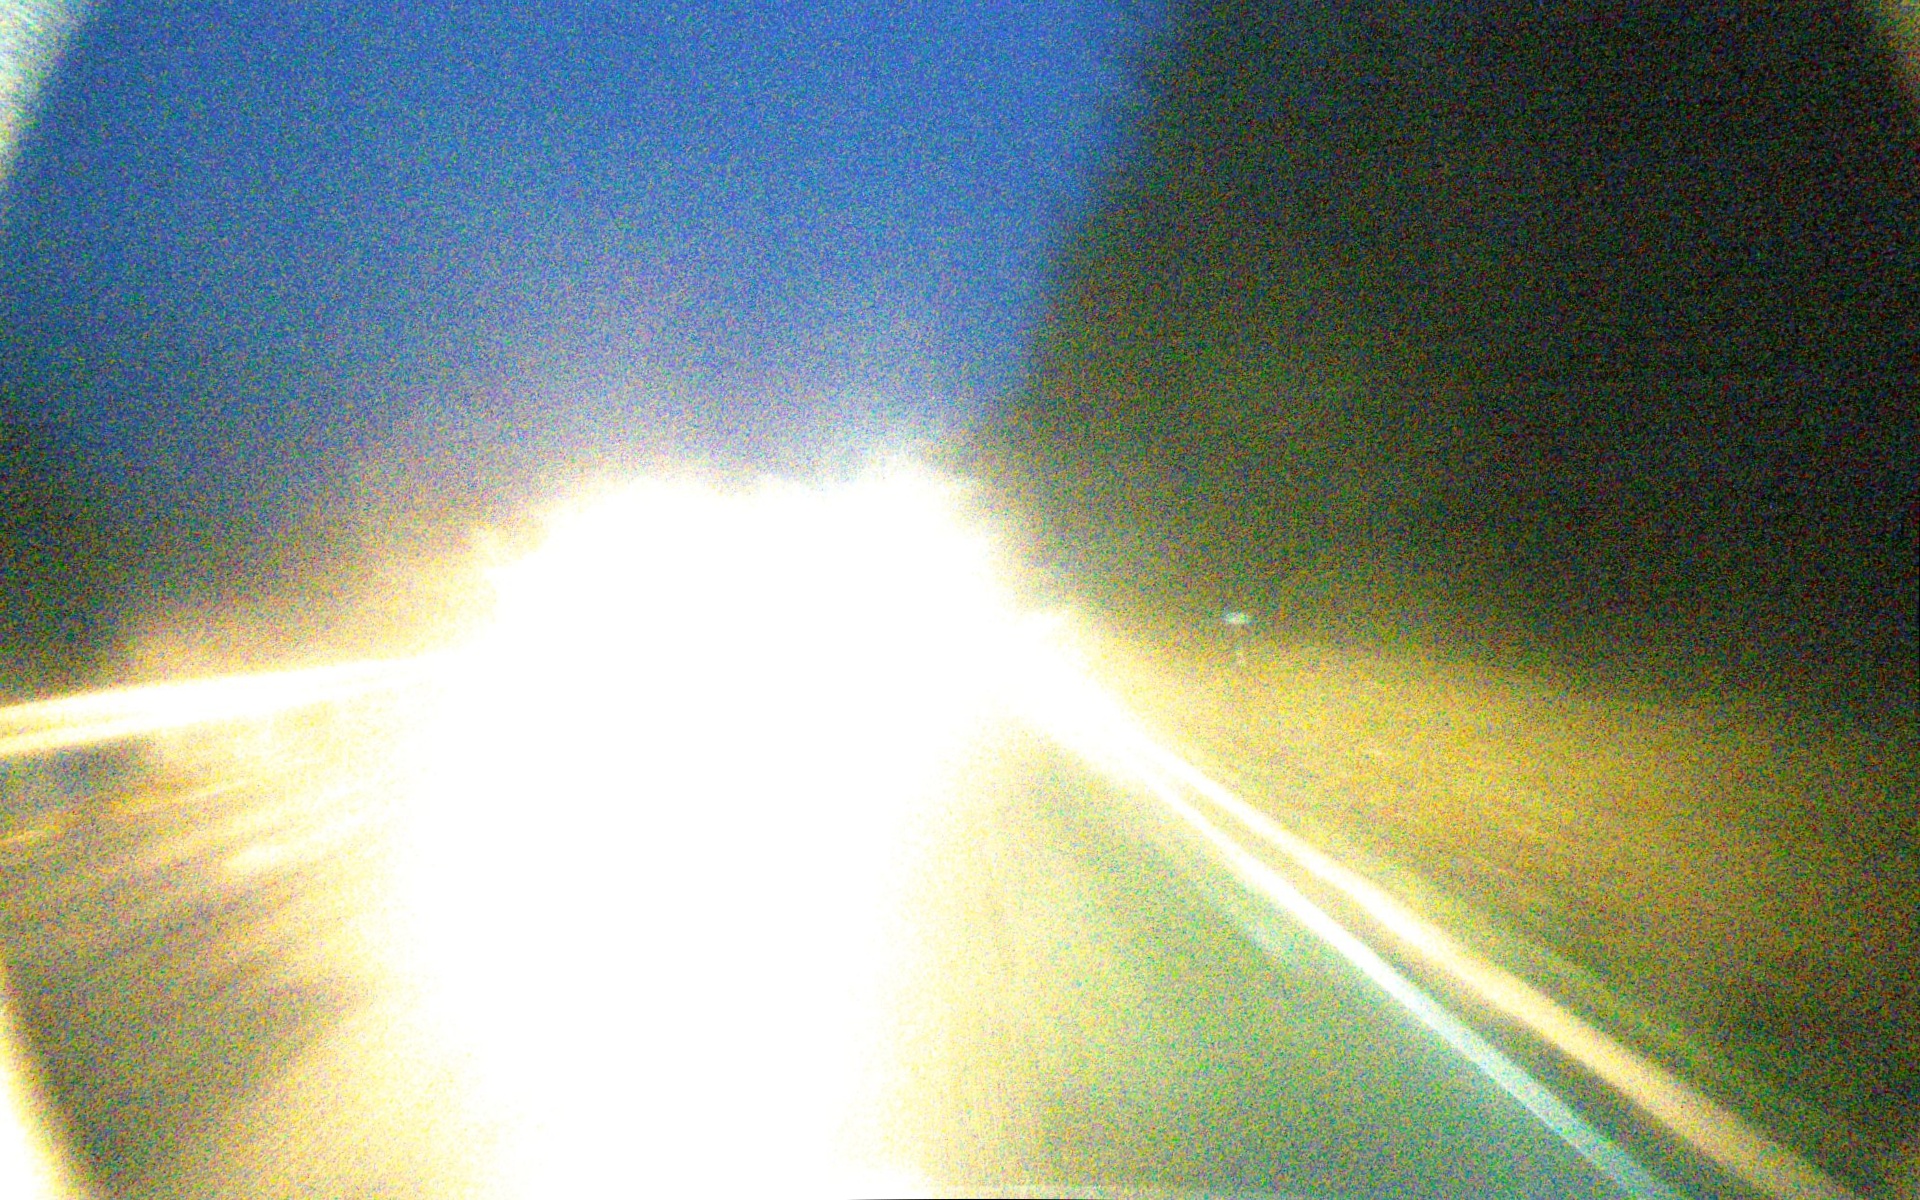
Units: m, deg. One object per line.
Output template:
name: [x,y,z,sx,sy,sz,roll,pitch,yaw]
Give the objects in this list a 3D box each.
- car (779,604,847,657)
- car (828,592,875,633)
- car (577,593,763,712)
car: [-4.434,0.890,50.419,1.806,1.506,4.247,1,0,-2]
car: [-5.046,0.564,77.226,1.953,1.824,4.245,1,0,-1]
car: [-3.947,0.668,23.134,1.953,1.501,3.923,1,0,-1]
